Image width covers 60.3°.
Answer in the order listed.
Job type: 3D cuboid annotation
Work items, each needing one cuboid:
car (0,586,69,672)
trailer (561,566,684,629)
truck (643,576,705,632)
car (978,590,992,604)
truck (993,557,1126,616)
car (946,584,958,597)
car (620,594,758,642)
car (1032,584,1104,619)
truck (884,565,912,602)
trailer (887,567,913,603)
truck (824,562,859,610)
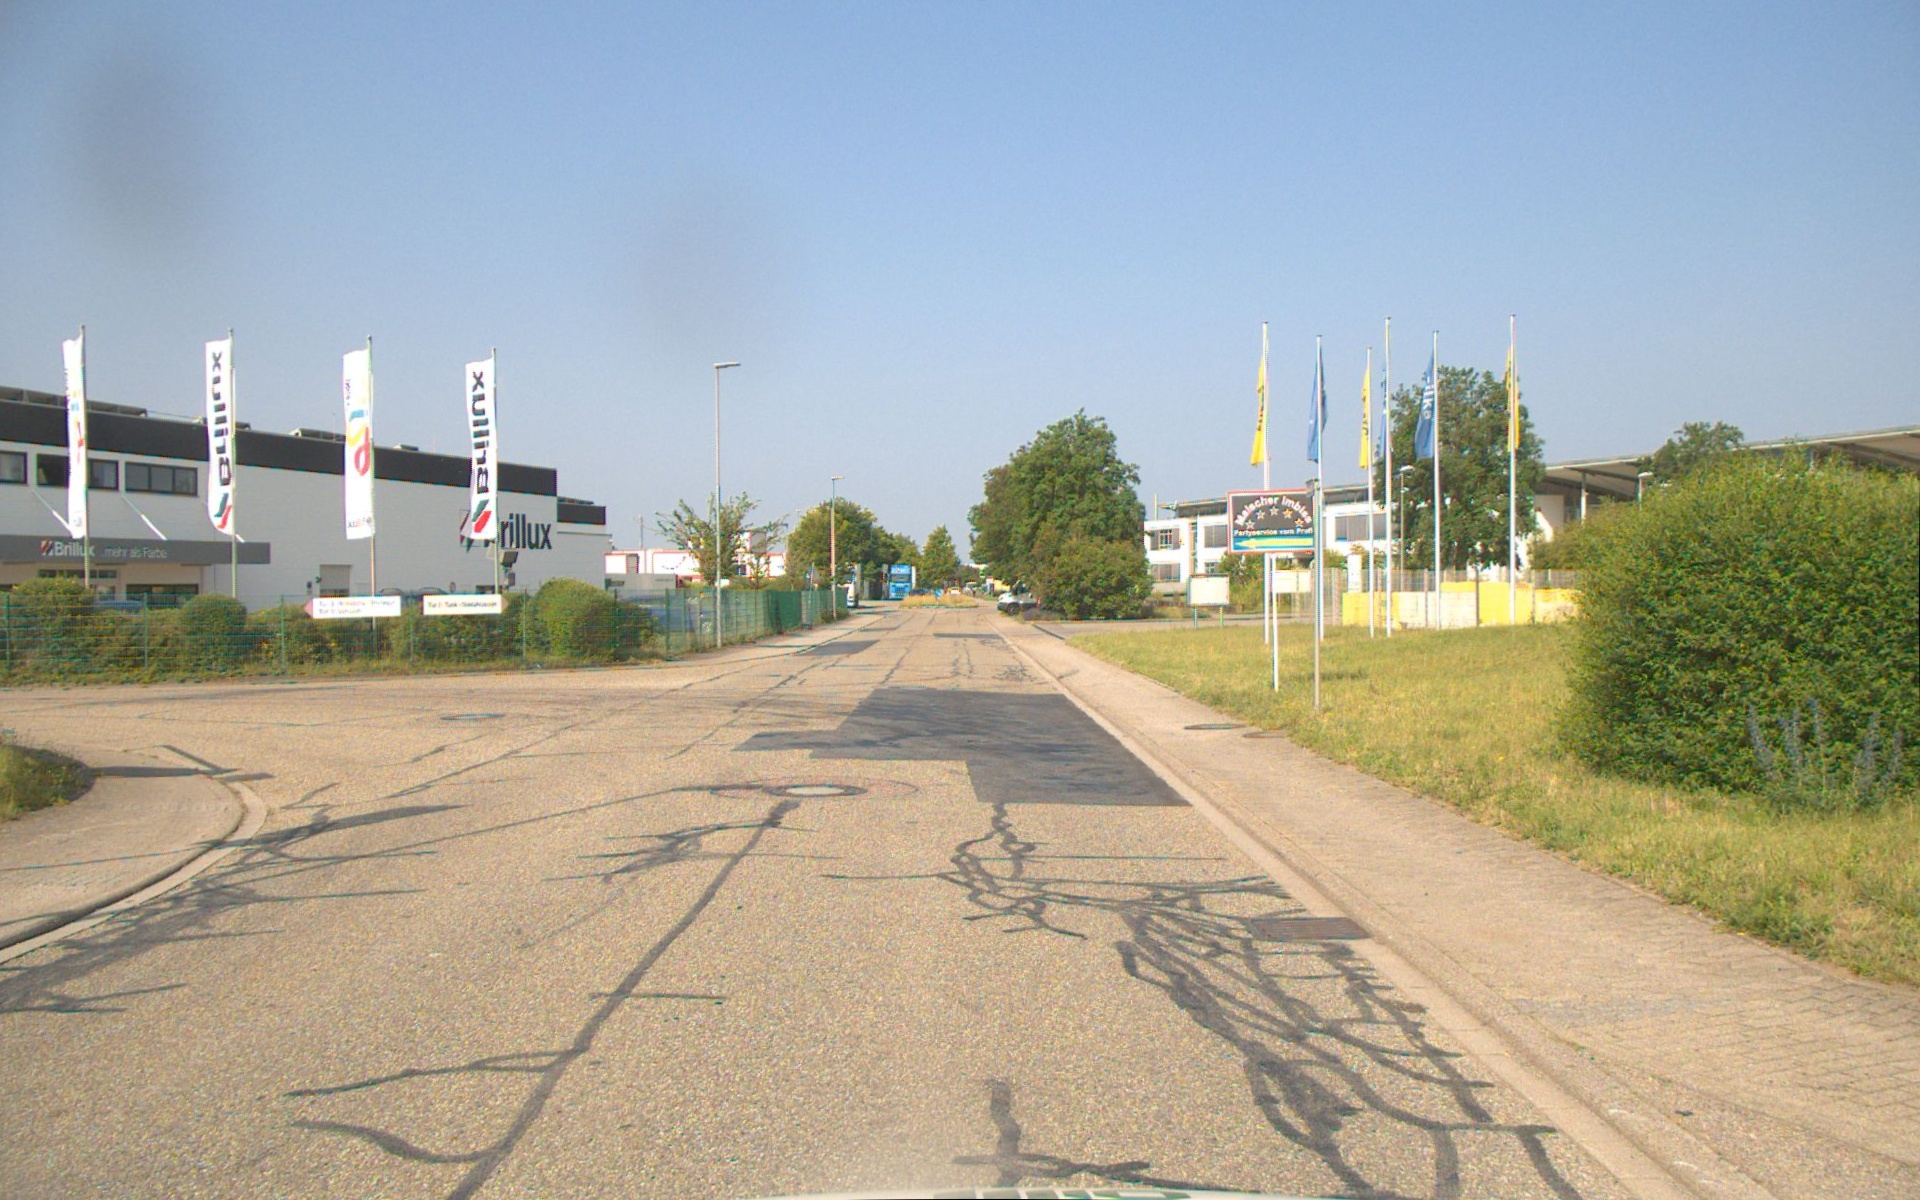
[{"bbox_3d":[-21.895,0.635,35.767,4.554,1.783,2.152,-1,0,21],"label":"car"},{"bbox_3d":[-23.705,-0.053,117.277,2.429,4.112,13.897,1,-1,15],"label":"trailer"},{"bbox_3d":[-21.619,0.341,125.112,2.459,4.142,5.547,1,-1,15],"label":"truck"},{"bbox_3d":[3.400,-0.406,227.965,1.756,1.780,3.999,1,-1,-1],"label":"car"},{"bbox_3d":[6.144,-0.829,103.220,8.042,3.429,2.740,-1,-1,-2],"label":"truck"},{"bbox_3d":[-1.180,-1.367,239.244,1.683,1.690,3.822,1,-1,-2],"label":"car"},{"bbox_3d":[-9.669,0.625,59.302,4.591,1.469,2.078,-2,0,-1],"label":"car"},{"bbox_3d":[6.003,0.061,92.576,3.905,1.870,2.000,-1,0,1],"label":"car"},{"bbox_3d":[-6.993,-1.830,187.147,2.768,3.893,9.670,1,-1,-1],"label":"truck"},{"bbox_3d":[-7.121,-1.716,197.189,2.773,3.910,12.033,1,-1,-1],"label":"trailer"},{"bbox_3d":[-10.195,-1.151,142.795,2.654,3.990,4.295,1,-1,-1],"label":"truck"}]
